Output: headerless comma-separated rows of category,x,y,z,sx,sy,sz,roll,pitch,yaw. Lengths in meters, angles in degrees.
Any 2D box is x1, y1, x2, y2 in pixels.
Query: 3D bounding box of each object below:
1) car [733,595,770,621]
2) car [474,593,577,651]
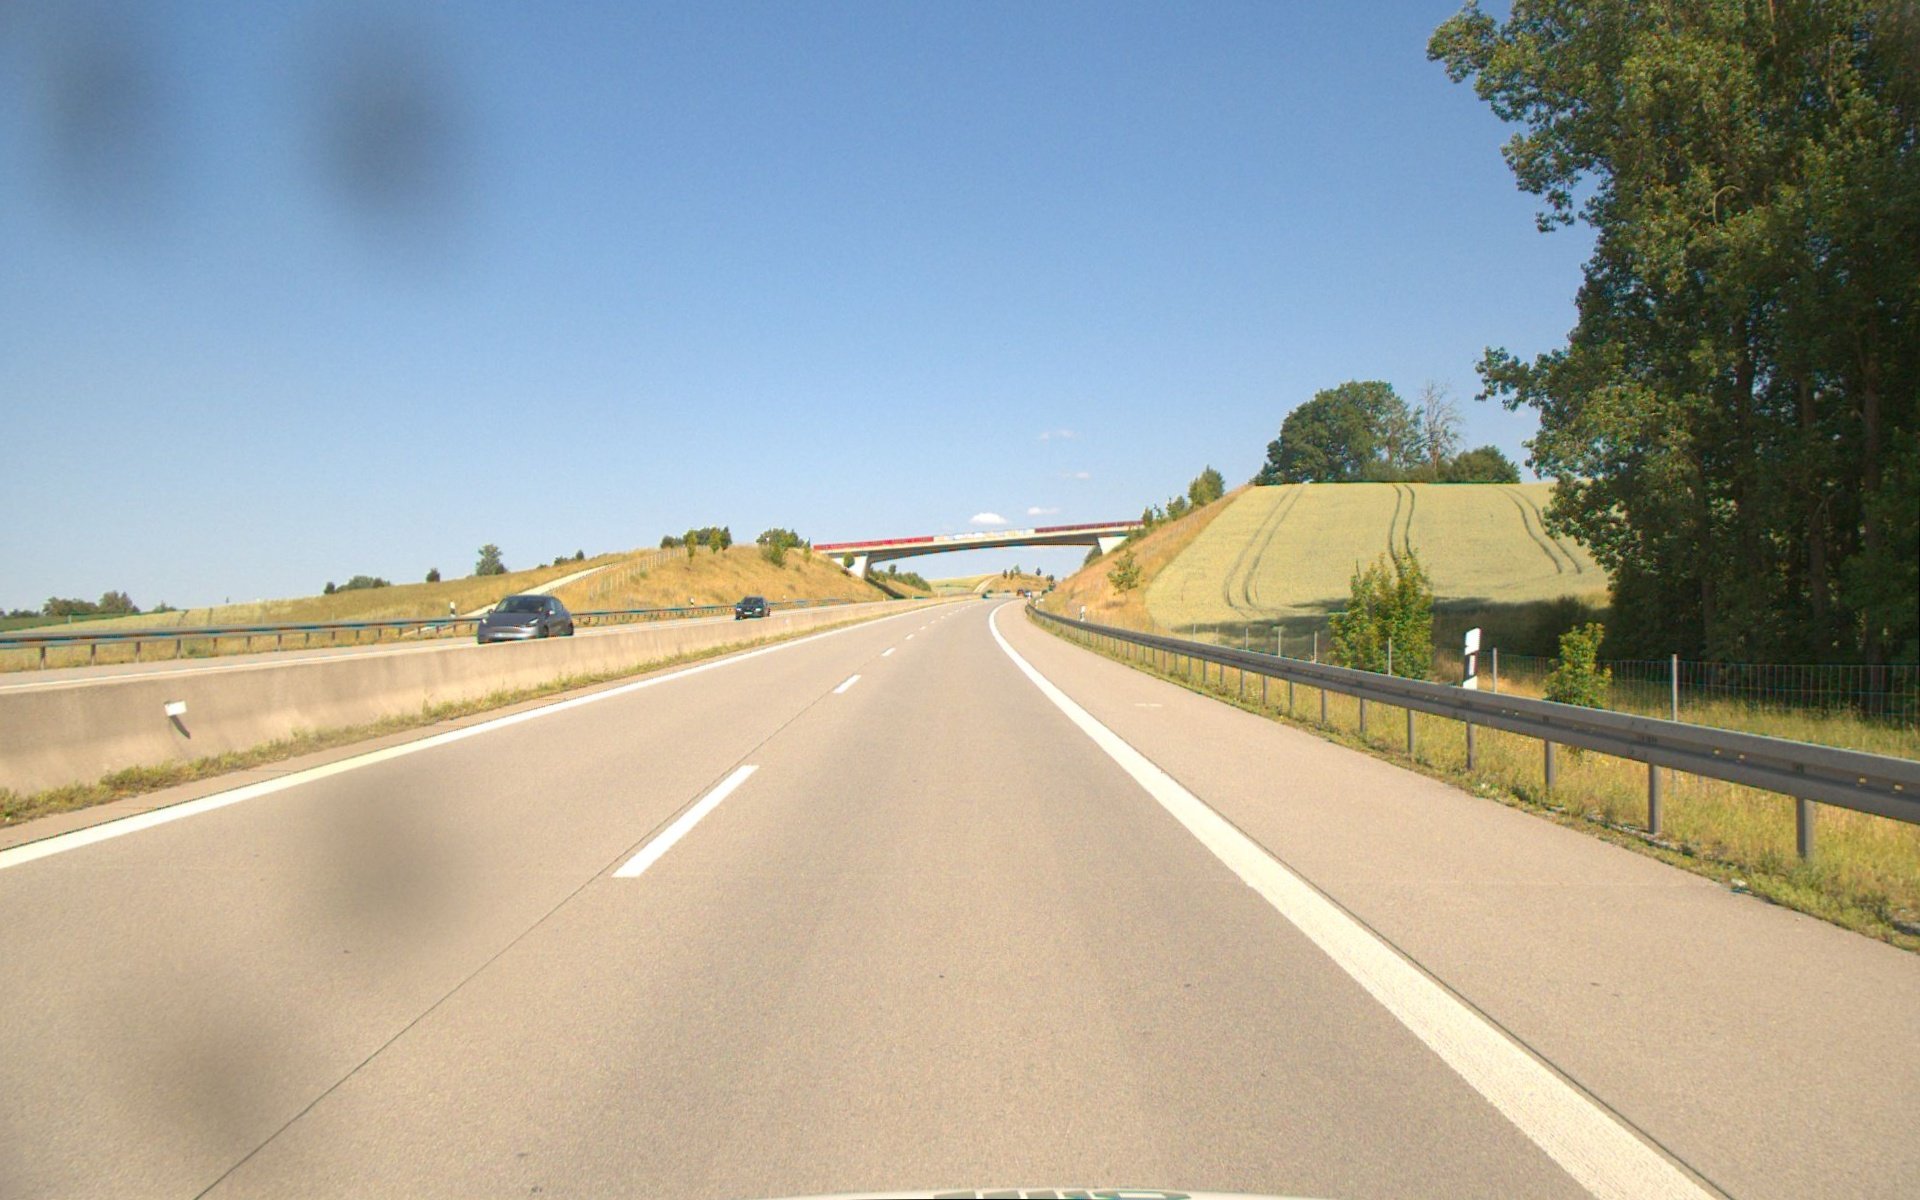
car,-13.868,0.530,110.002,1.775,1.643,4.676,1,-1,1
car,-12.938,0.652,49.527,1.775,1.643,4.676,1,-1,1
